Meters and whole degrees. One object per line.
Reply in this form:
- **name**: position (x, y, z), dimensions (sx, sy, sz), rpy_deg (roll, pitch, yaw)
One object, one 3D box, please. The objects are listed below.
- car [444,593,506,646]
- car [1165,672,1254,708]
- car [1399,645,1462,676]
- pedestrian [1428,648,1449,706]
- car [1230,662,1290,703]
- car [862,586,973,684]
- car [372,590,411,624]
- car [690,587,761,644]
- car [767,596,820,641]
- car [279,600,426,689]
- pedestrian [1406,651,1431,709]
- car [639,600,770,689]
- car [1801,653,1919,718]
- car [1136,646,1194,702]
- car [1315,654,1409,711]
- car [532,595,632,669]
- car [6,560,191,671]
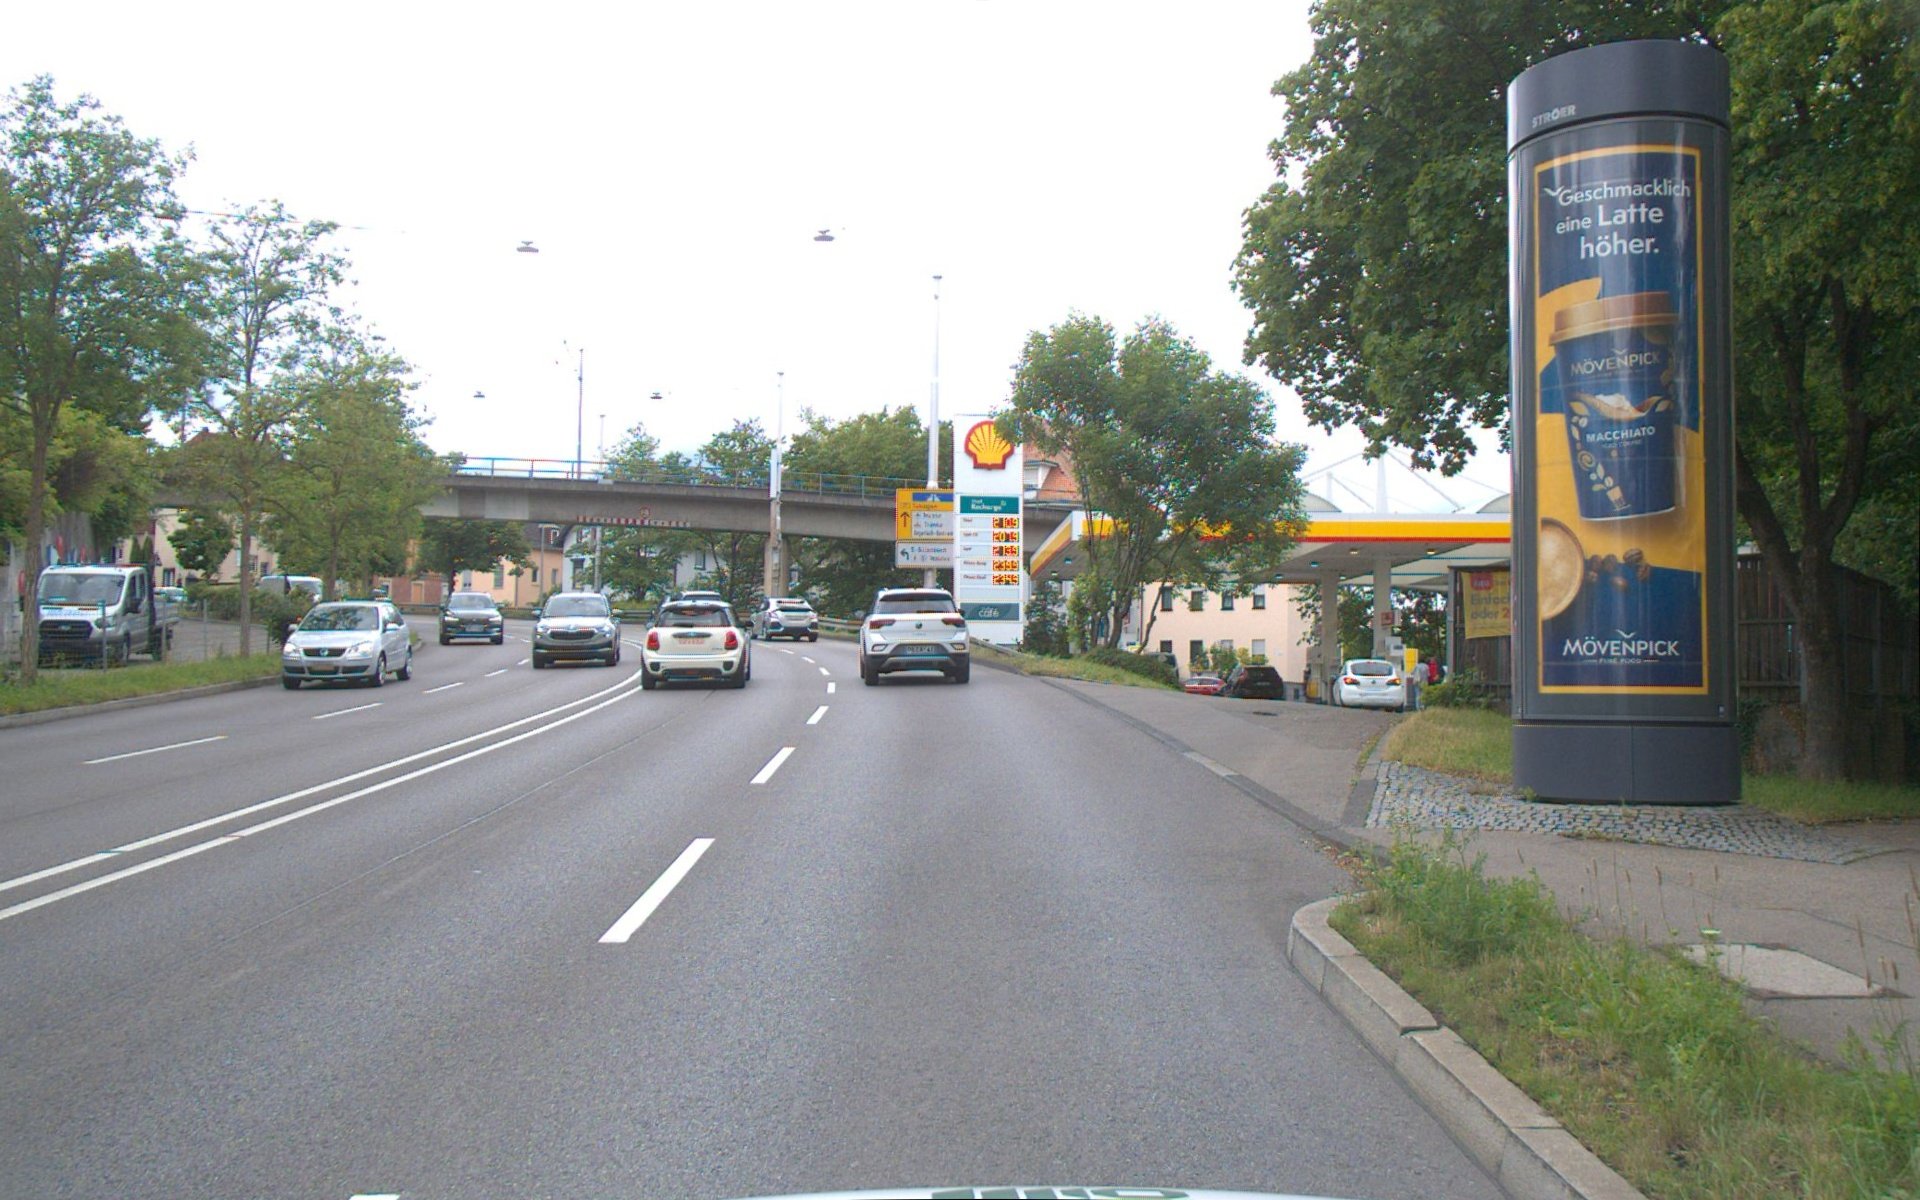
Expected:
- **car**: position (-15.666, 0.606, 53.588), dimensions (1.755, 1.603, 4.451), rpy_deg (-1, 0, -14)
- **car**: position (12.957, 4.660, 85.934), dimensions (4.207, 1.548, 1.622), rpy_deg (3, -3, 27)
- **car**: position (25.844, 3.321, 90.827), dimensions (3.554, 1.373, 1.578), rpy_deg (8, -5, -41)
- **pedestrian**: position (14.600, 2.347, 50.478), dimensions (0.482, 1.734, 0.431), rpy_deg (1, -1, -10)
- **car**: position (11.587, 3.225, 64.066), dimensions (1.699, 1.512, 3.877), rpy_deg (0, -4, 1)
- **car**: position (-0.699, 0.566, 28.182), dimensions (1.760, 1.545, 3.456), rpy_deg (1, 0, -1)
- **car**: position (-33.399, 0.419, 97.193), dimensions (1.872, 1.971, 3.971), rpy_deg (1, 0, -23)
- **car**: position (-7.199, 0.453, 51.021), dimensions (1.687, 1.668, 3.456), rpy_deg (1, 0, -1)
- **car**: position (-5.621, 0.599, 55.623), dimensions (1.644, 1.433, 3.450), rpy_deg (1, 0, -8)
- **car**: position (-10.779, 0.751, 29.597), dimensions (1.535, 1.456, 3.886), rpy_deg (1, 0, -6)
- **pedestrian**: position (13.823, 2.399, 49.855), dimensions (0.532, 1.734, 0.609), rpy_deg (1, -1, -6)
- **car**: position (-4.259, 0.710, 28.032), dimensions (1.687, 1.400, 3.456), rpy_deg (1, 0, -1)
- **car**: position (22.188, 1.986, 39.021), dimensions (4.009, 1.461, 1.723), rpy_deg (-3, -3, 23)
- **car**: position (7.792, 2.857, 63.238), dimensions (1.699, 2.046, 4.712), rpy_deg (0, -4, 1)
- **car**: position (11.063, 2.307, 45.791), dimensions (1.699, 1.512, 3.877), rpy_deg (0, -4, 1)
- **car**: position (-8.435, 0.668, 37.220), dimensions (1.751, 1.565, 4.070), rpy_deg (0, 0, -7)
- **car**: position (-19.492, 0.326, 37.771), dimensions (2.229, 2.313, 6.305), rpy_deg (0, 0, -13)
